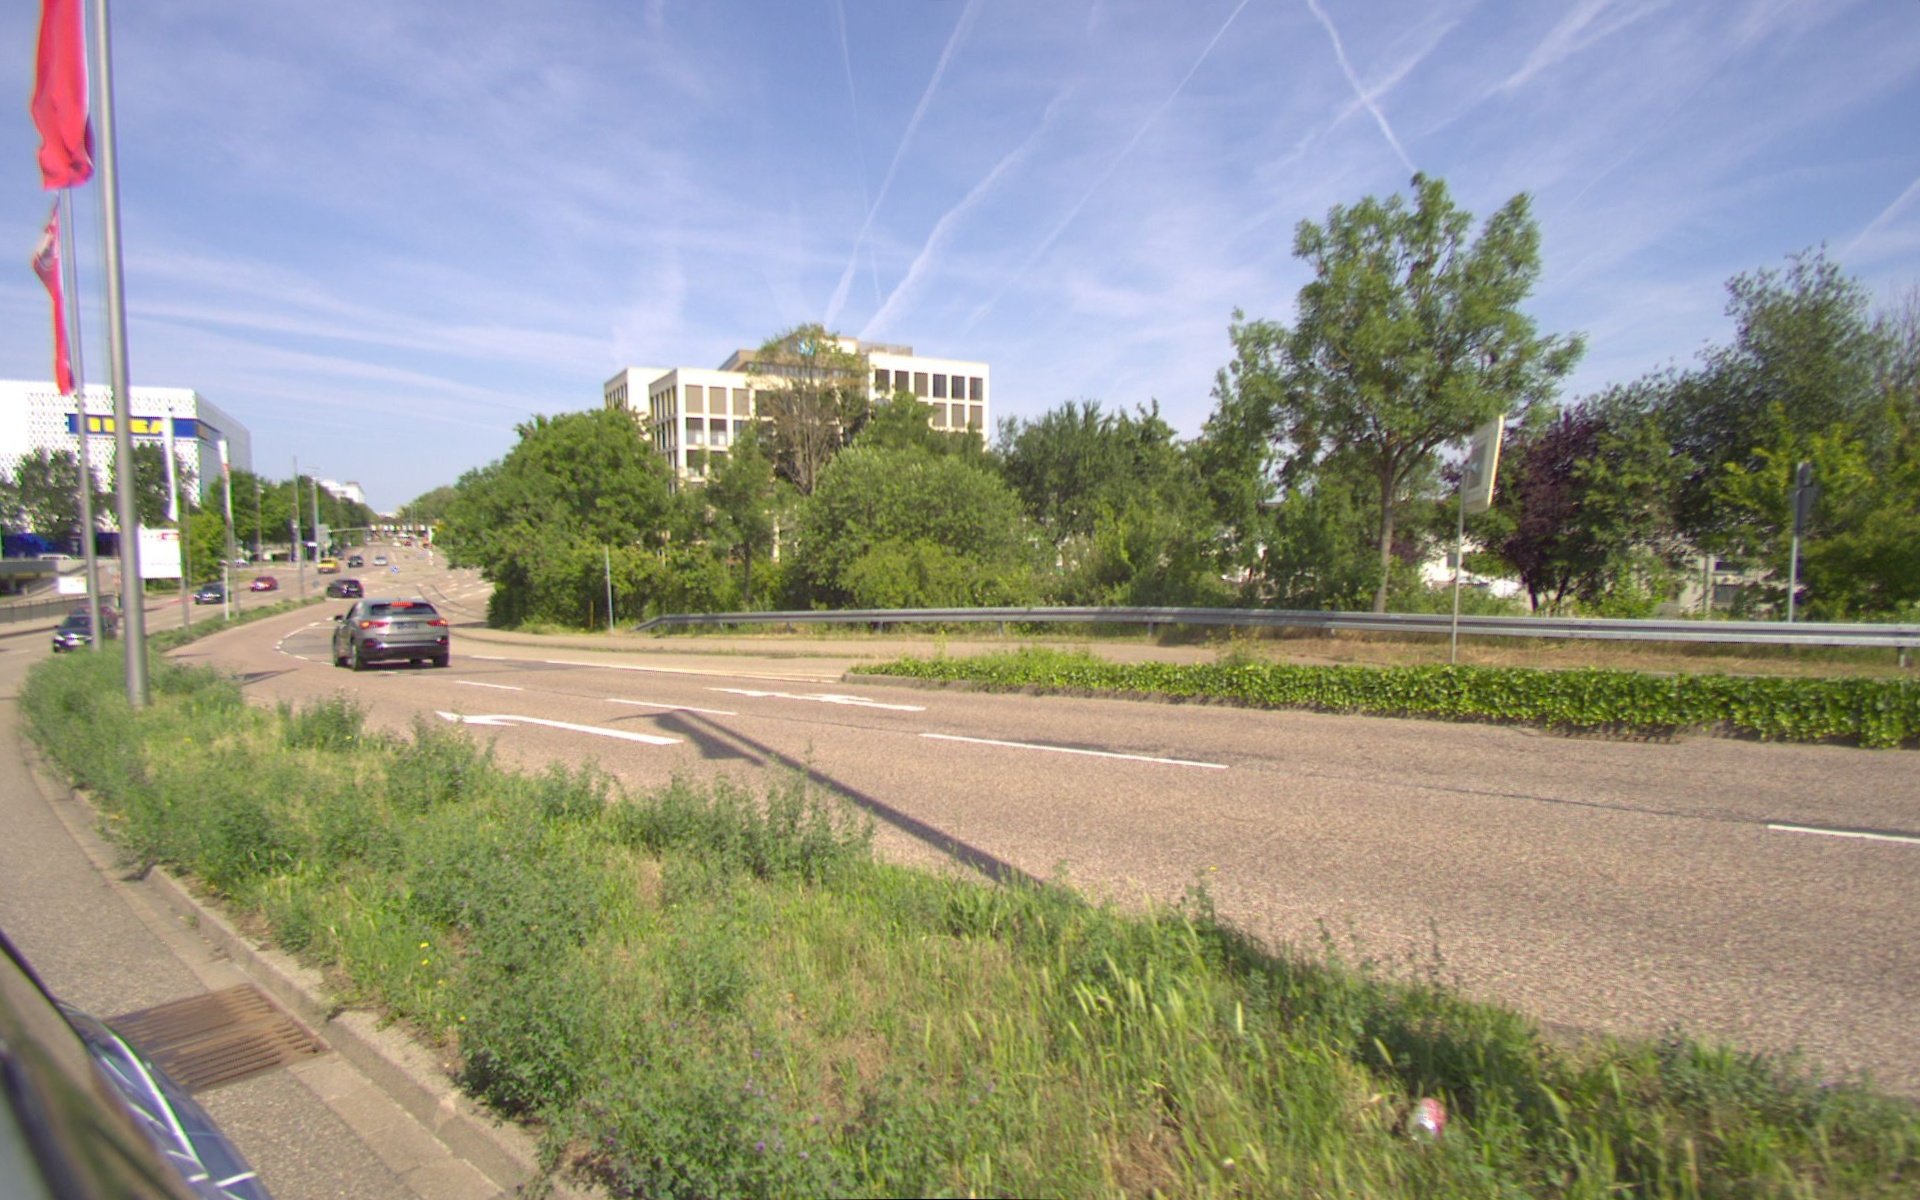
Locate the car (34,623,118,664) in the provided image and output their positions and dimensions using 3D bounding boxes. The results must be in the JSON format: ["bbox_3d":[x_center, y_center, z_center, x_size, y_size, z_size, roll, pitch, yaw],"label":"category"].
[{"bbox_3d":[-35.757,1.710,41.048,1.819,1.429,4.012,0,0,-30],"label":"car"}]

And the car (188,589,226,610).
[{"bbox_3d":[-61.345,-0.039,82.471,1.795,1.485,4.014,-1,4,-27],"label":"car"}]

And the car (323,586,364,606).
[{"bbox_3d":[-53.601,-0.340,87.931,4.142,1.540,1.837,3,4,41],"label":"car"}]

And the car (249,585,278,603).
[{"bbox_3d":[-68.992,-0.613,100.283,1.795,1.485,4.014,-1,4,-27],"label":"car"}]

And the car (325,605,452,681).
[{"bbox_3d":[-12.820,0.927,22.574,1.761,1.496,4.267,-1,-1,-39],"label":"car"}]

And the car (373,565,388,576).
[{"bbox_3d":[-88.818,-4.518,155.115,1.795,1.485,4.014,-1,4,-27],"label":"car"}]

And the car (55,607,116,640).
[{"bbox_3d":[-48.804,1.270,56.547,1.748,1.671,4.157,0,1,-29],"label":"car"}]

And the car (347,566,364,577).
[{"bbox_3d":[-89.866,-4.239,150.507,1.795,1.485,4.014,-1,3,-25],"label":"car"}]

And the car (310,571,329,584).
[{"bbox_3d":[-84.278,-2.971,133.226,1.795,1.485,4.014,-1,4,-27],"label":"car"}]
